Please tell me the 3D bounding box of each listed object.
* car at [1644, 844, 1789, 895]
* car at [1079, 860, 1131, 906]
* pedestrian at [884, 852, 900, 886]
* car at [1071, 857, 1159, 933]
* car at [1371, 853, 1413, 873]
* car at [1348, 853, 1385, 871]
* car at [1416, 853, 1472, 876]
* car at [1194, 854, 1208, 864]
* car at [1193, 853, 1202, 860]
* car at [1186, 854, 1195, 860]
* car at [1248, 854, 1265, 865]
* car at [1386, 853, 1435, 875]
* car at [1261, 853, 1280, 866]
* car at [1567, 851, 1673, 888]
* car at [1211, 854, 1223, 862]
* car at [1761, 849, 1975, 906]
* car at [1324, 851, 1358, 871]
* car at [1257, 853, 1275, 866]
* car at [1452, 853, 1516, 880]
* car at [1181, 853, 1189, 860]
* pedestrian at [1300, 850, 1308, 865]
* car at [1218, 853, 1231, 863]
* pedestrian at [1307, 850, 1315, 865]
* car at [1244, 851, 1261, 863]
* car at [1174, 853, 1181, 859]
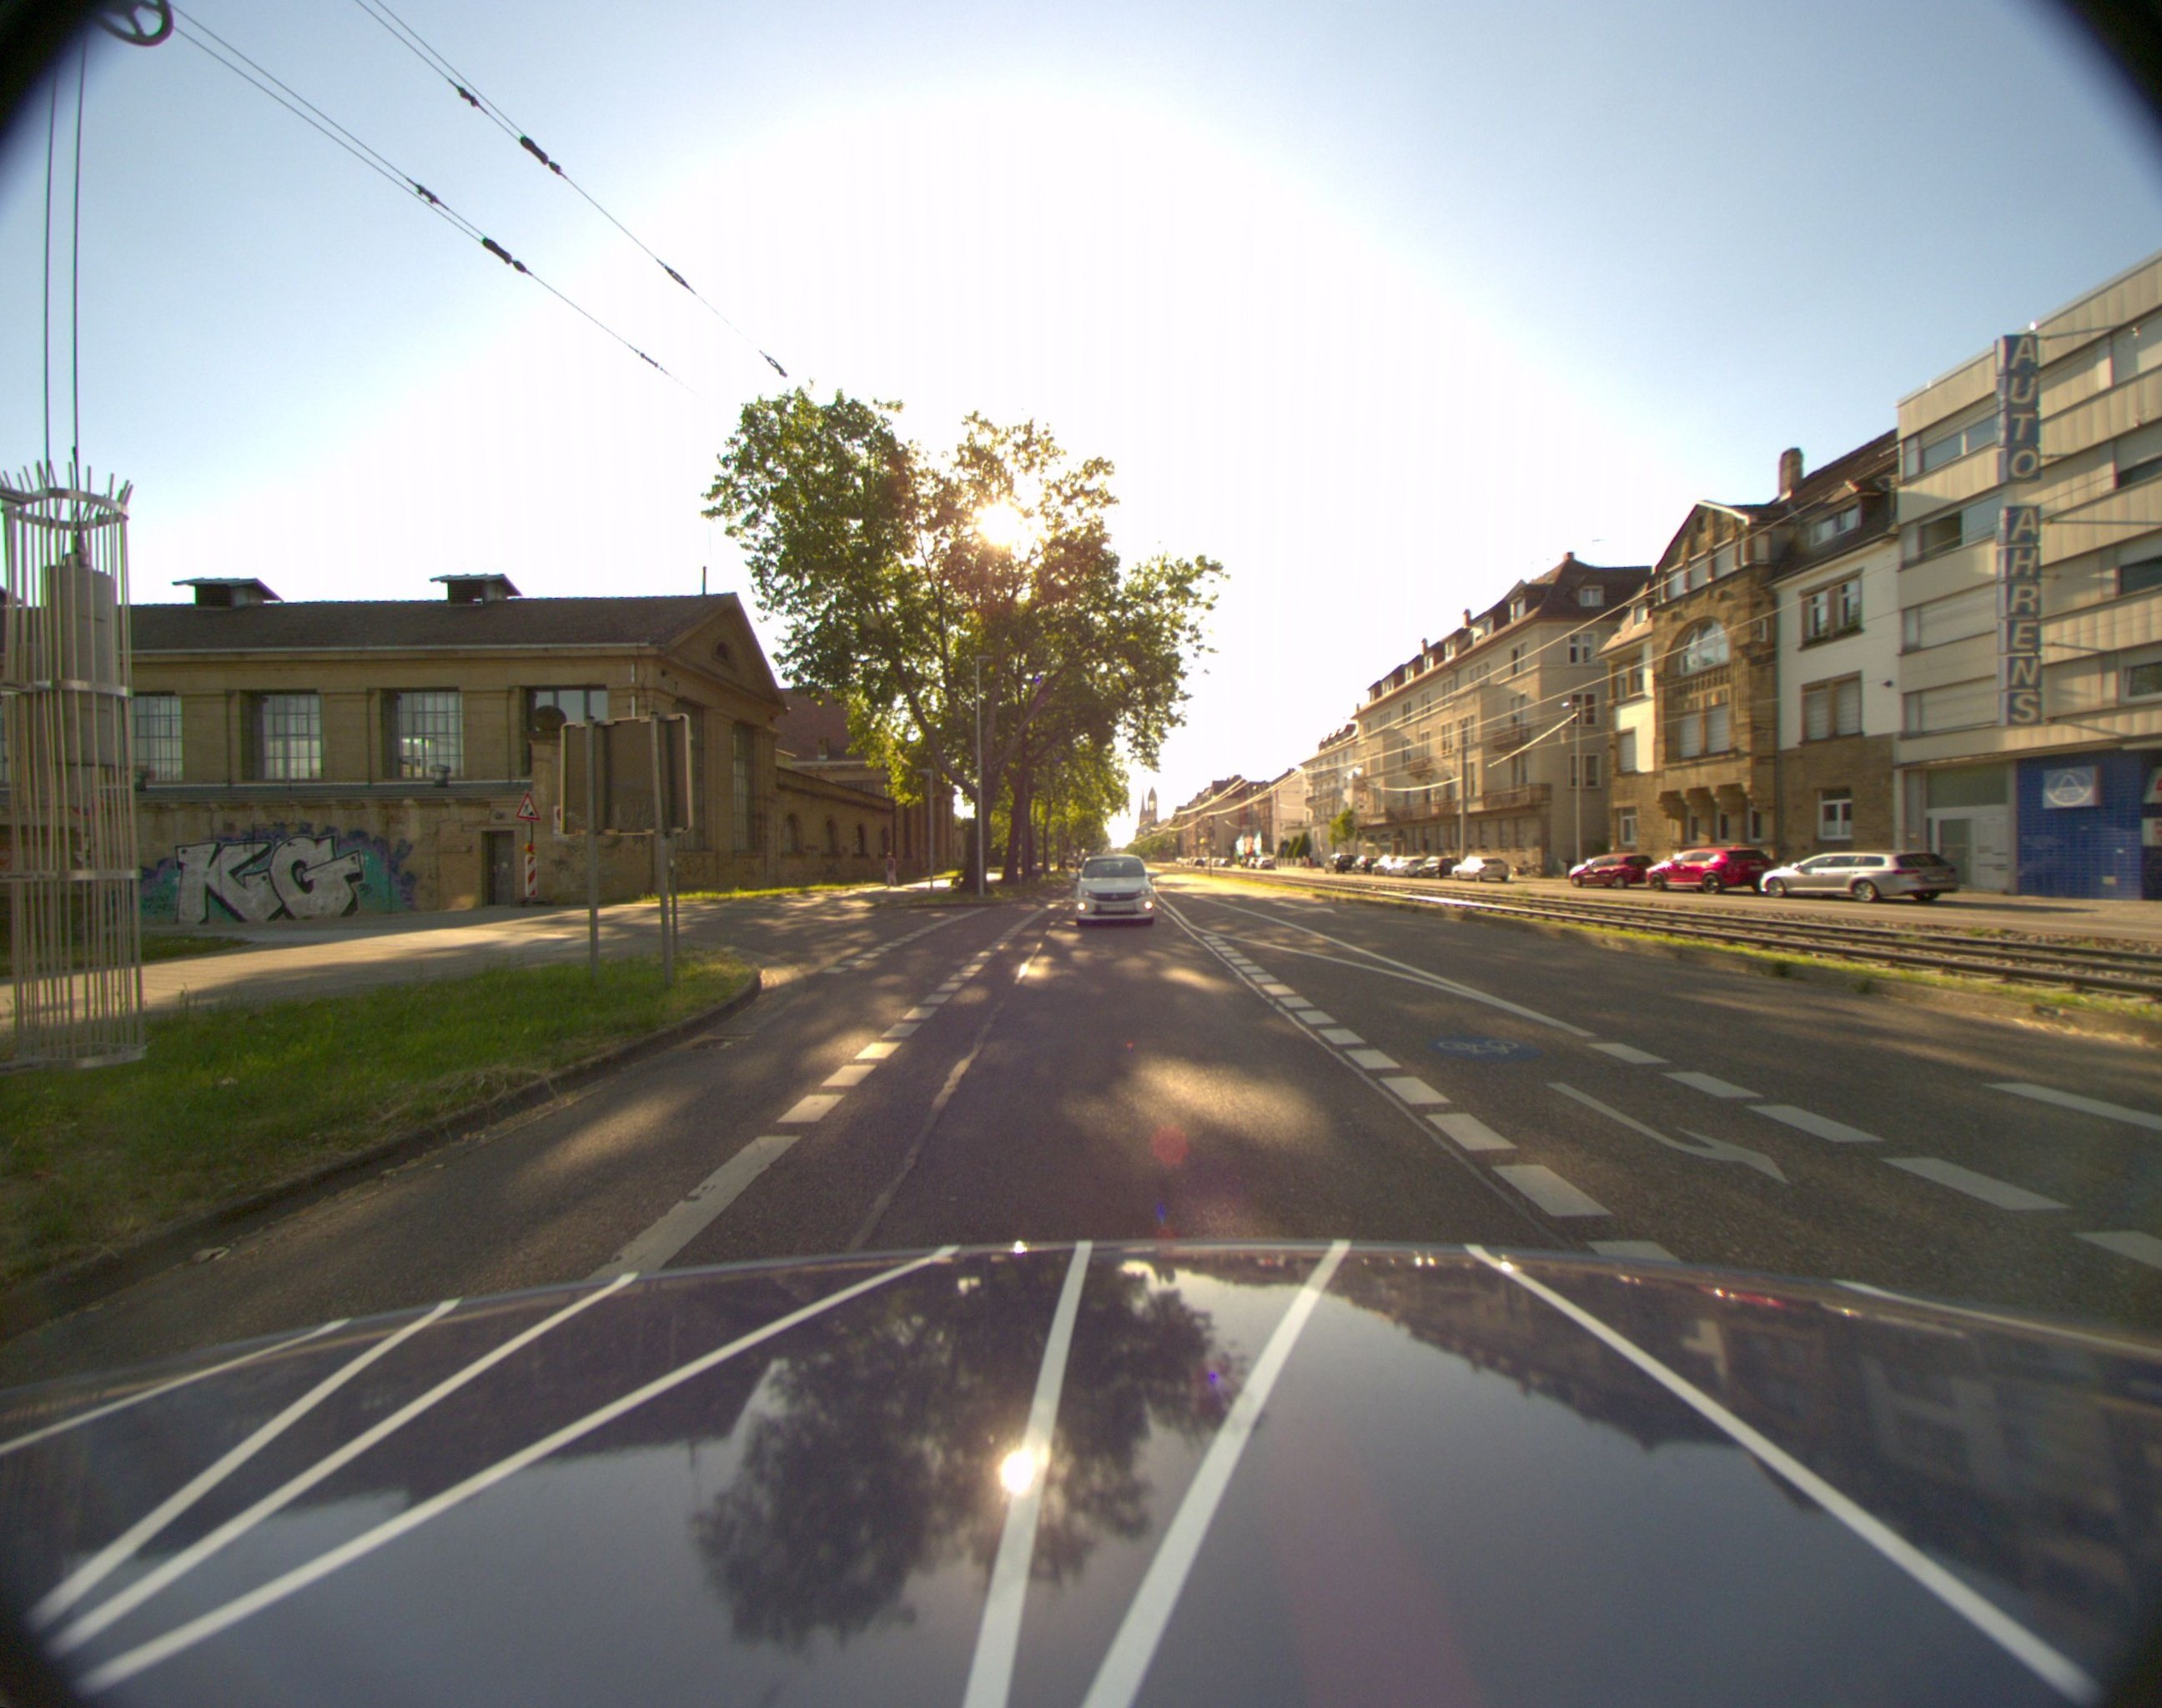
[{"bbox_3d":[23.393,0.544,28.194,1.860,1.677,4.263,-3,0,2],"label":"car"},{"bbox_3d":[0.838,0.971,26.912,1.686,1.462,4.055,-1,0,1],"label":"car"},{"bbox_3d":[-9.267,0.727,37.307,0.672,1.652,0.873,0,0,-8],"label":"pedestrian"},{"bbox_3d":[0.723,0.819,16.992,1.686,1.462,4.055,-1,0,1],"label":"car"},{"bbox_3d":[24.373,0.685,59.617,1.802,1.470,3.823,-2,0,2],"label":"car"},{"bbox_3d":[24.550,0.698,65.492,1.802,1.470,3.823,-2,0,2],"label":"car"},{"bbox_3d":[24.059,0.693,50.495,1.802,1.422,3.823,-2,0,-1],"label":"car"},{"bbox_3d":[20.661,0.884,131.218,1.822,1.674,4.000,-1,0,2],"label":"car"},{"bbox_3d":[27.160,0.575,177.802,1.624,1.581,3.450,-2,0,1],"label":"car"},{"bbox_3d":[26.782,0.738,185.466,1.624,1.581,3.450,-2,0,1],"label":"car"},{"bbox_3d":[24.986,0.773,108.177,1.684,1.562,3.388,-2,0,1],"label":"car"},{"bbox_3d":[23.672,0.710,54.724,1.642,1.438,3.538,-2,0,-6],"label":"car"},{"bbox_3d":[24.330,0.733,97.635,1.677,1.622,3.408,-2,0,2],"label":"car"},{"bbox_3d":[23.550,0.658,33.377,1.756,1.487,3.729,-3,0,-5],"label":"car"},{"bbox_3d":[25.594,0.730,142.900,1.624,1.581,3.450,-2,0,1],"label":"car"},{"bbox_3d":[23.339,0.649,22.839,1.860,1.490,4.382,-3,0,0],"label":"car"},{"bbox_3d":[24.294,0.614,71.052,1.875,1.726,3.916,-2,0,2],"label":"car"},{"bbox_3d":[25.043,0.732,102.890,1.684,1.562,3.388,-2,0,1],"label":"car"},{"bbox_3d":[23.885,0.730,45.192,1.802,1.470,3.823,-2,0,2],"label":"car"},{"bbox_3d":[26.785,0.663,196.040,1.624,1.581,3.450,-2,0,1],"label":"car"},{"bbox_3d":[27.116,0.420,92.283,0.725,1.779,0.678,0,0,1],"label":"pedestrian"},{"bbox_3d":[25.232,0.671,133.726,1.624,1.581,3.450,-2,0,1],"label":"car"},{"bbox_3d":[27.900,0.393,92.046,0.725,1.779,0.678,0,0,1],"label":"pedestrian"},{"bbox_3d":[25.559,0.469,113.265,1.727,1.776,3.881,-2,0,1],"label":"car"},{"bbox_3d":[28.275,0.492,223.140,1.624,1.581,3.450,-2,0,1],"label":"car"}]
